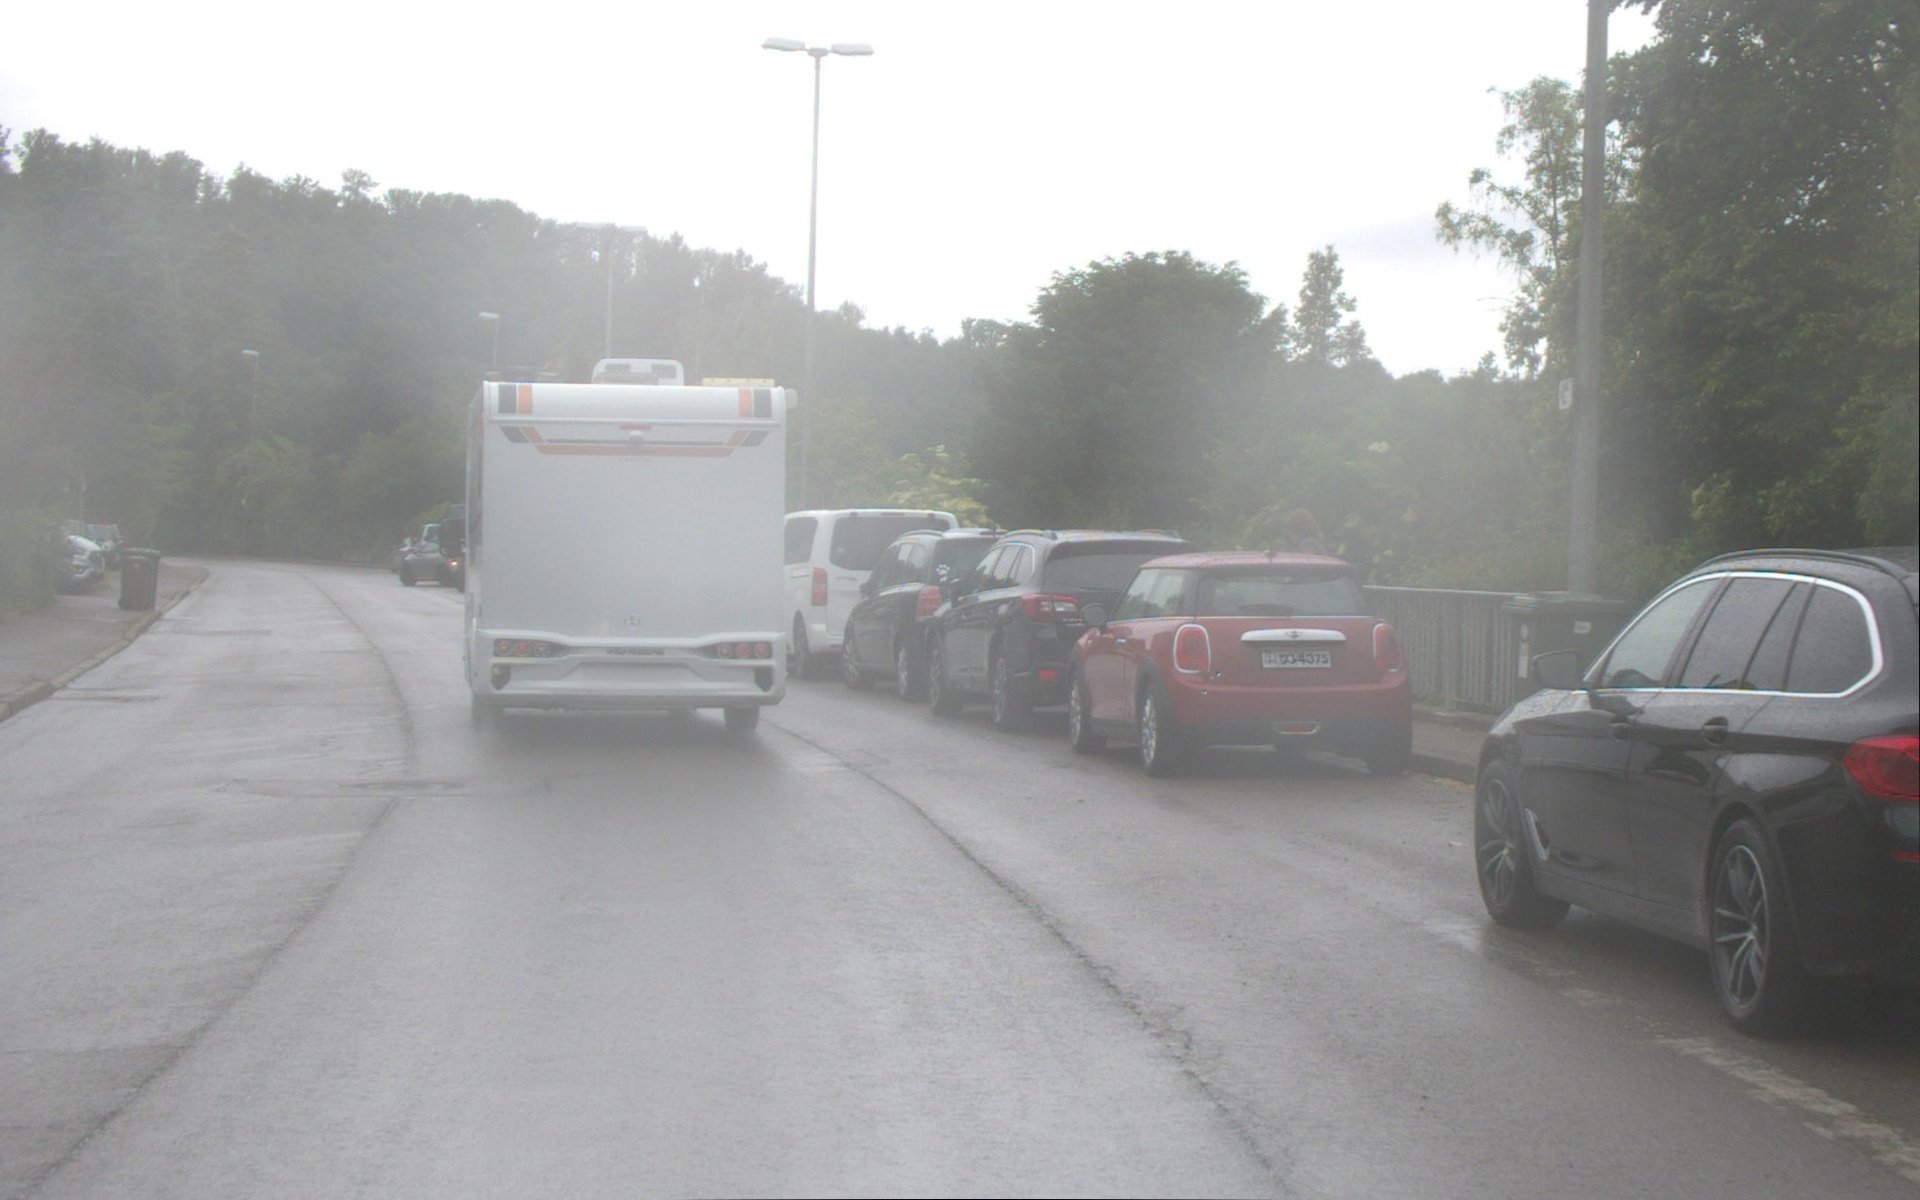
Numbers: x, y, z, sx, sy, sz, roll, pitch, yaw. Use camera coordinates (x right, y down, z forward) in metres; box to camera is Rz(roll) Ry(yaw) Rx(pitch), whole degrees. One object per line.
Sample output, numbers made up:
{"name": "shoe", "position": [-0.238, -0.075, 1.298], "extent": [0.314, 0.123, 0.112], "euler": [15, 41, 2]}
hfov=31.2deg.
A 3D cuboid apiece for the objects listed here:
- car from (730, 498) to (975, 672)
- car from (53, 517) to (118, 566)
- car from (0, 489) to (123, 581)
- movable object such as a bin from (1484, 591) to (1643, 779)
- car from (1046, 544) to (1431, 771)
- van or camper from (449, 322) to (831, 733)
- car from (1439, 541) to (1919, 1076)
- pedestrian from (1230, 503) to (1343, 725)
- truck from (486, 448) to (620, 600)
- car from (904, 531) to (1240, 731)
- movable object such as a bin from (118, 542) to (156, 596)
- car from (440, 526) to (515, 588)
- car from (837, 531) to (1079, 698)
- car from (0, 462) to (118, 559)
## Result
{"name": "car", "position": [-1.318, -0.188, 39.705], "extent": [1.848, 1.875, 4.912], "euler": [0, 1, -14]}
{"name": "car", "position": [-27.529, -1.844, 108.298], "extent": [1.632, 1.391, 4.240], "euler": [5, 0, -11]}
{"name": "car", "position": [-20.944, -1.405, 74.358], "extent": [5.085, 1.938, 2.141], "euler": [1, 1, 5]}
{"name": "movable object such as a bin", "position": [3.630, 0.503, 20.742], "extent": [0.713, 1.090, 0.849], "euler": [1, 1, -6]}
{"name": "car", "position": [1.793, 0.340, 23.367], "extent": [1.735, 1.409, 3.853], "euler": [0, 1, -9]}
{"name": "van or camper", "position": [-2.731, -0.477, 27.677], "extent": [2.615, 2.843, 6.032], "euler": [2, -1, -9]}
{"name": "car", "position": [3.094, 0.536, 11.806], "extent": [1.792, 1.454, 4.789], "euler": [0, 1, -6]}
{"name": "pedestrian", "position": [2.448, 0.098, 25.745], "extent": [0.717, 1.629, 0.707], "euler": [1, 1, 14]}
{"name": "truck", "position": [-9.474, -1.714, 79.450], "extent": [2.435, 3.324, 7.967], "euler": [0, 1, -11]}
{"name": "car", "position": [0.815, 0.210, 28.338], "extent": [1.815, 1.501, 4.725], "euler": [0, 1, -10]}
{"name": "movable object such as a bin", "position": [-14.480, -0.546, 60.468], "extent": [0.602, 0.925, 0.564], "euler": [2, 1, -15]}
{"name": "car", "position": [-13.451, -1.219, 95.633], "extent": [1.936, 1.666, 4.696], "euler": [0, 1, -9]}
{"name": "car", "position": [-0.092, 0.109, 33.953], "extent": [1.644, 1.535, 4.355], "euler": [0, 1, -10]}
{"name": "car", "position": [-18.901, -1.846, 67.629], "extent": [4.055, 1.686, 1.893], "euler": [5, 0, 2]}
